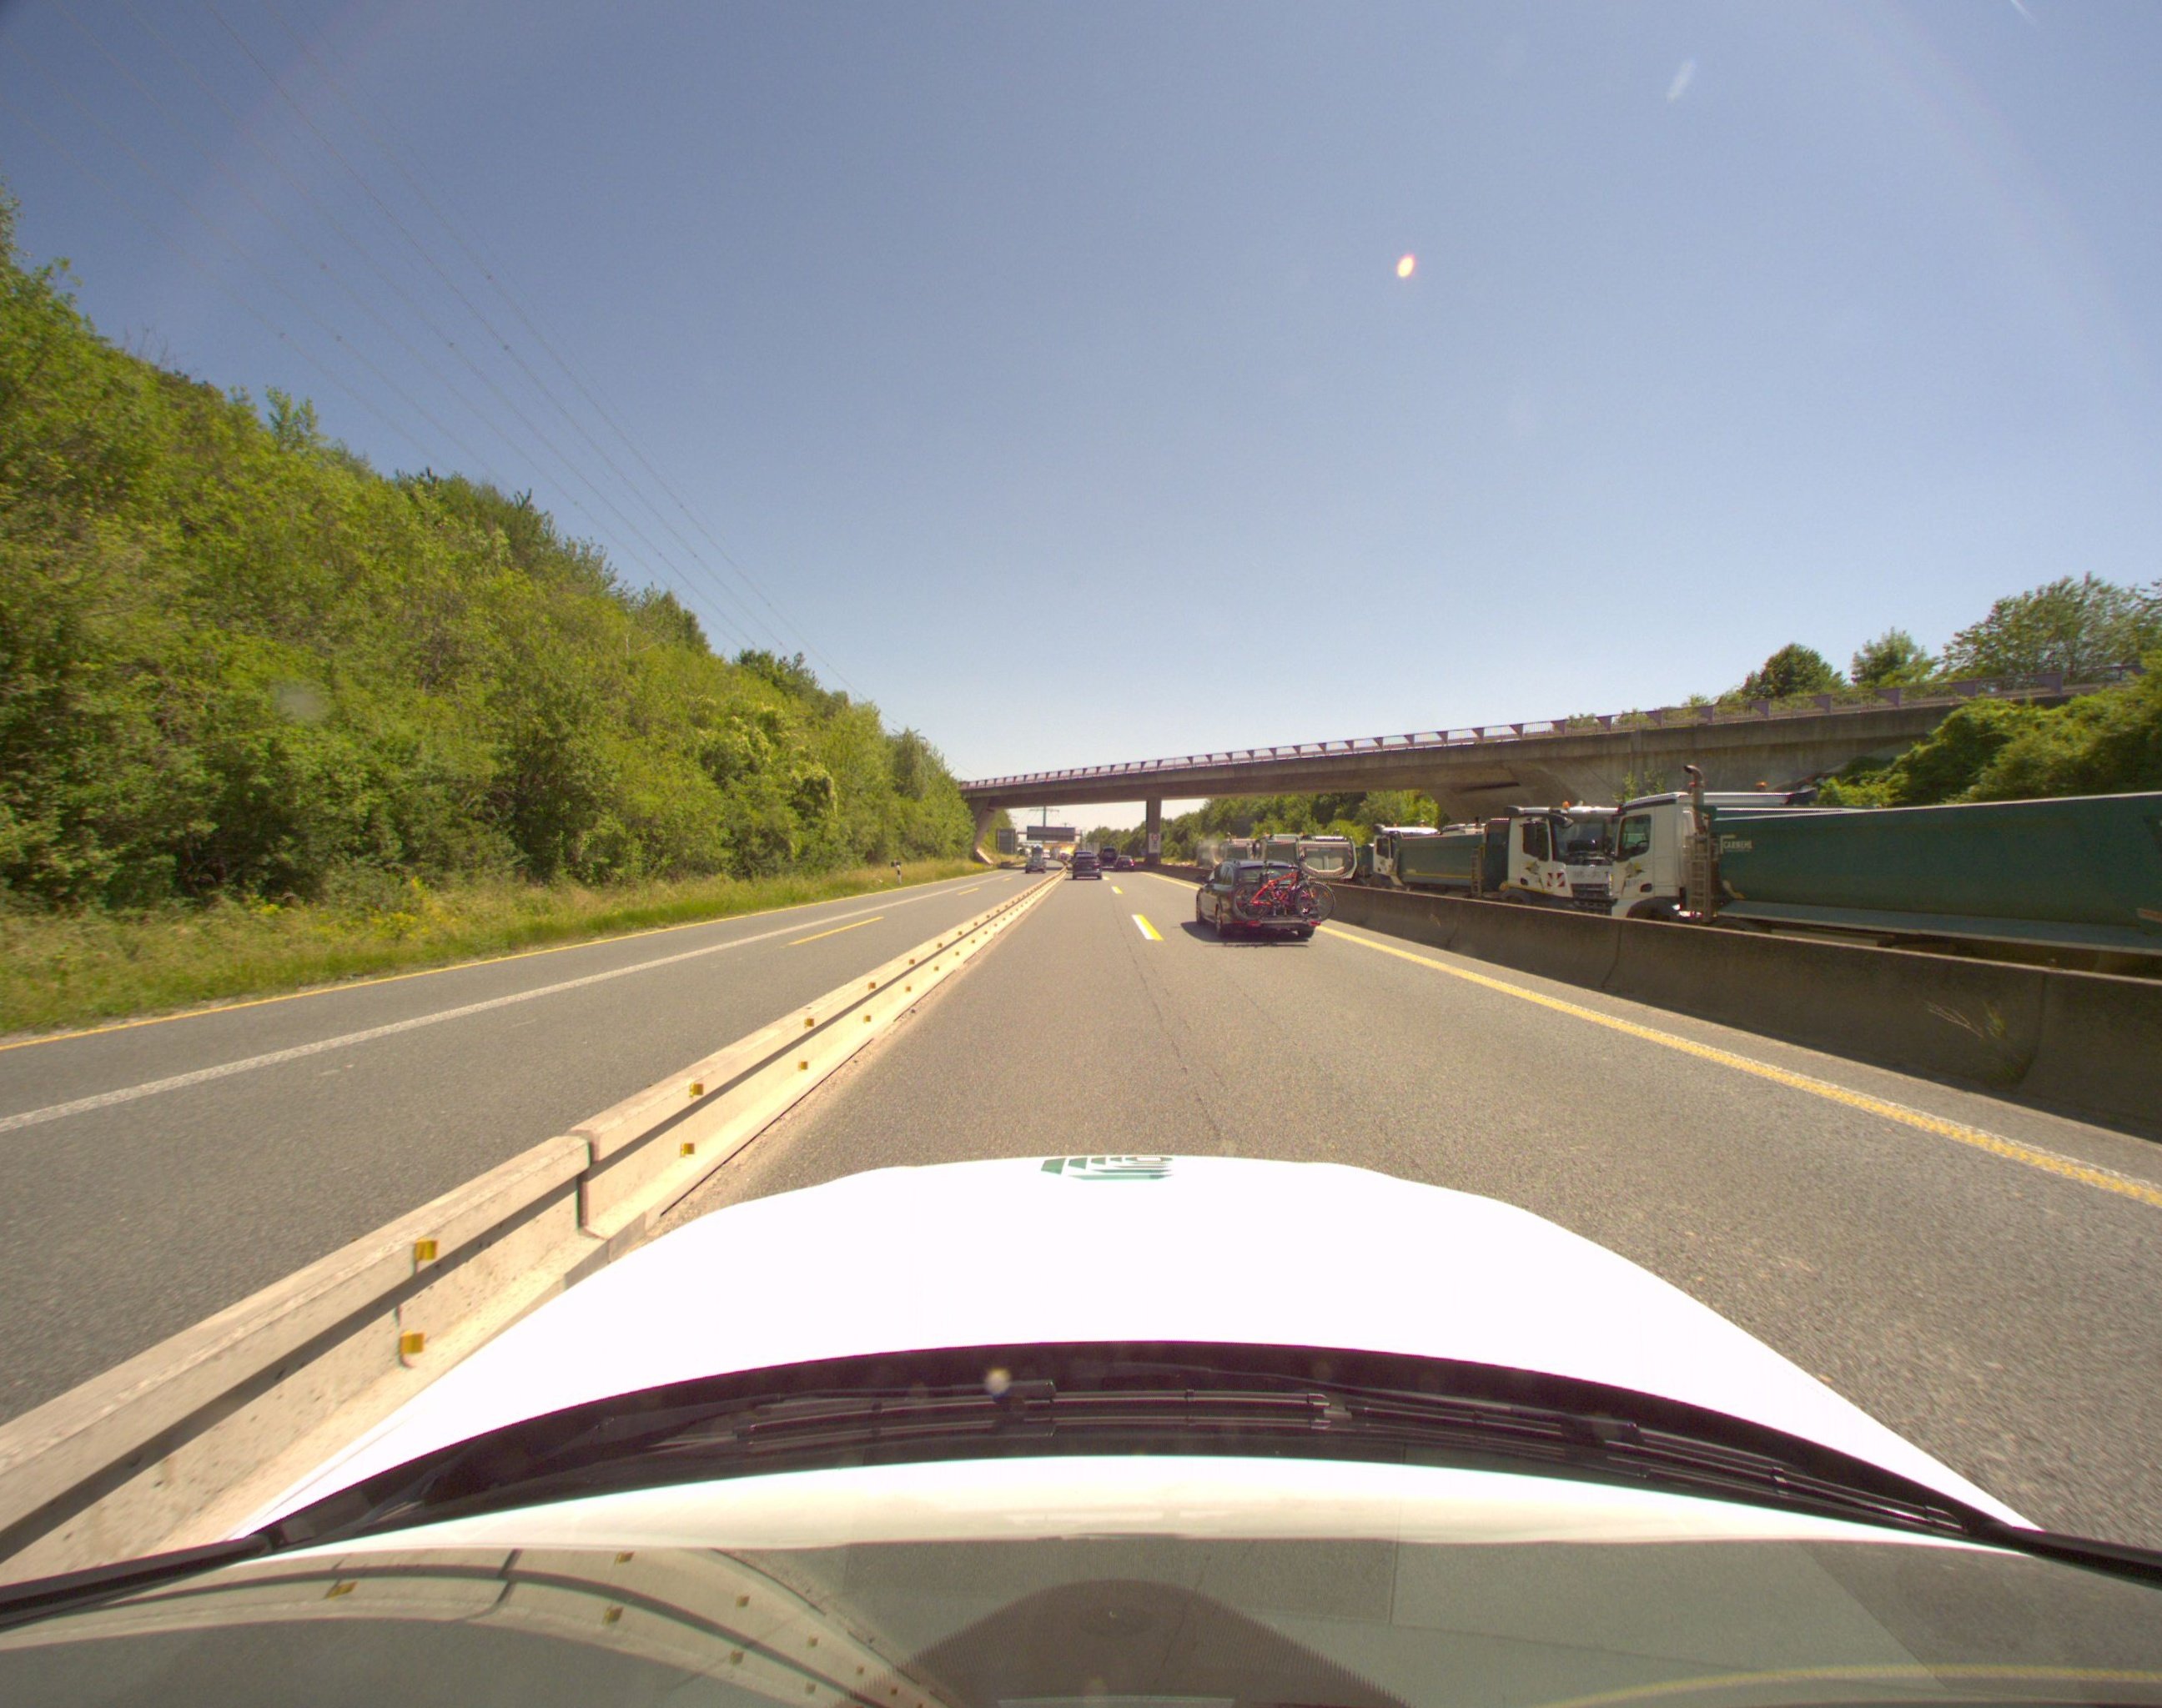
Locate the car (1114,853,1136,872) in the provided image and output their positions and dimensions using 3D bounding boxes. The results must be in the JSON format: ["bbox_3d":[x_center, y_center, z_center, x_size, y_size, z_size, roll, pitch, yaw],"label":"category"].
[{"bbox_3d":[3.901,0.740,72.478,1.892,1.585,4.278,0,0,2],"label":"car"}]

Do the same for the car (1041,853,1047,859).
[{"bbox_3d":[-10.428,0.576,228.624,1.759,1.838,3.994,0,-1,-4],"label":"car"}]

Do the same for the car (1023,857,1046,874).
[{"bbox_3d":[-3.987,0.996,70.306,1.668,1.393,4.071,0,-1,0],"label":"car"}]

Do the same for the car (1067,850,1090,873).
[{"bbox_3d":[-0.180,0.681,72.008,1.892,1.968,4.278,0,0,2],"label":"car"}]

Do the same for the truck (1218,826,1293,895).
[{"bbox_3d":[10.517,0.382,50.121,2.678,3.856,9.325,0,0,1],"label":"truck"}]

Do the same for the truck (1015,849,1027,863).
[{"bbox_3d":[-13.842,0.450,188.337,2.503,3.186,10.095,0,0,-4],"label":"truck"}]

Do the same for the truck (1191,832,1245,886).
[{"bbox_3d":[10.381,0.352,62.545,2.678,3.843,9.325,0,0,1],"label":"truck"}]

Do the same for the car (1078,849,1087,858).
[{"bbox_3d":[0.358,-0.119,187.597,1.896,1.968,4.270,0,0,-4],"label":"car"}]

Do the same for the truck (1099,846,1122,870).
[{"bbox_3d":[3.297,0.441,92.218,2.398,2.558,7.499,0,0,0],"label":"truck"}]

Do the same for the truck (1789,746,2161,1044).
[{"bbox_3d":[13.565,0.460,9.289,2.678,3.378,9.601,0,0,0],"label":"truck"}]

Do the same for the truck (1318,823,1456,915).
[{"bbox_3d":[13.167,0.581,36.136,2.678,3.557,9.324,0,0,0],"label":"truck"}]

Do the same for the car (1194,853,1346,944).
[{"bbox_3d":[3.429,0.745,15.758,1.892,1.490,4.948,0,-1,1],"label":"car"}]

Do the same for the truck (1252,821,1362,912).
[{"bbox_3d":[10.378,0.529,38.495,2.678,3.761,9.325,0,0,1],"label":"truck"}]

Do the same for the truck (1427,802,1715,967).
[{"bbox_3d":[13.165,0.705,23.248,2.678,3.761,9.325,0,0,1],"label":"truck"}]

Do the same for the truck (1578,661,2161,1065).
[{"bbox_3d":[10.880,0.079,11.016,2.678,3.557,9.324,0,0,0],"label":"truck"}]

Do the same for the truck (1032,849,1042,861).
[{"bbox_3d":[-11.568,0.322,213.453,2.503,3.186,10.095,0,0,-4],"label":"truck"}]

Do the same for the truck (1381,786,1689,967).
[{"bbox_3d":[10.655,0.452,20.698,2.678,3.557,9.324,0,0,0],"label":"truck"}]

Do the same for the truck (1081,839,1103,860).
[{"bbox_3d":[2.045,-0.826,152.302,3.286,3.845,10.095,0,0,-4],"label":"truck"}]

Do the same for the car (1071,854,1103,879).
[{"bbox_3d":[0.400,0.754,51.346,1.892,1.505,4.278,0,0,2],"label":"car"}]

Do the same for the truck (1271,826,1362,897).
[{"bbox_3d":[13.621,0.404,48.009,2.678,3.727,9.324,0,0,0],"label":"truck"}]
